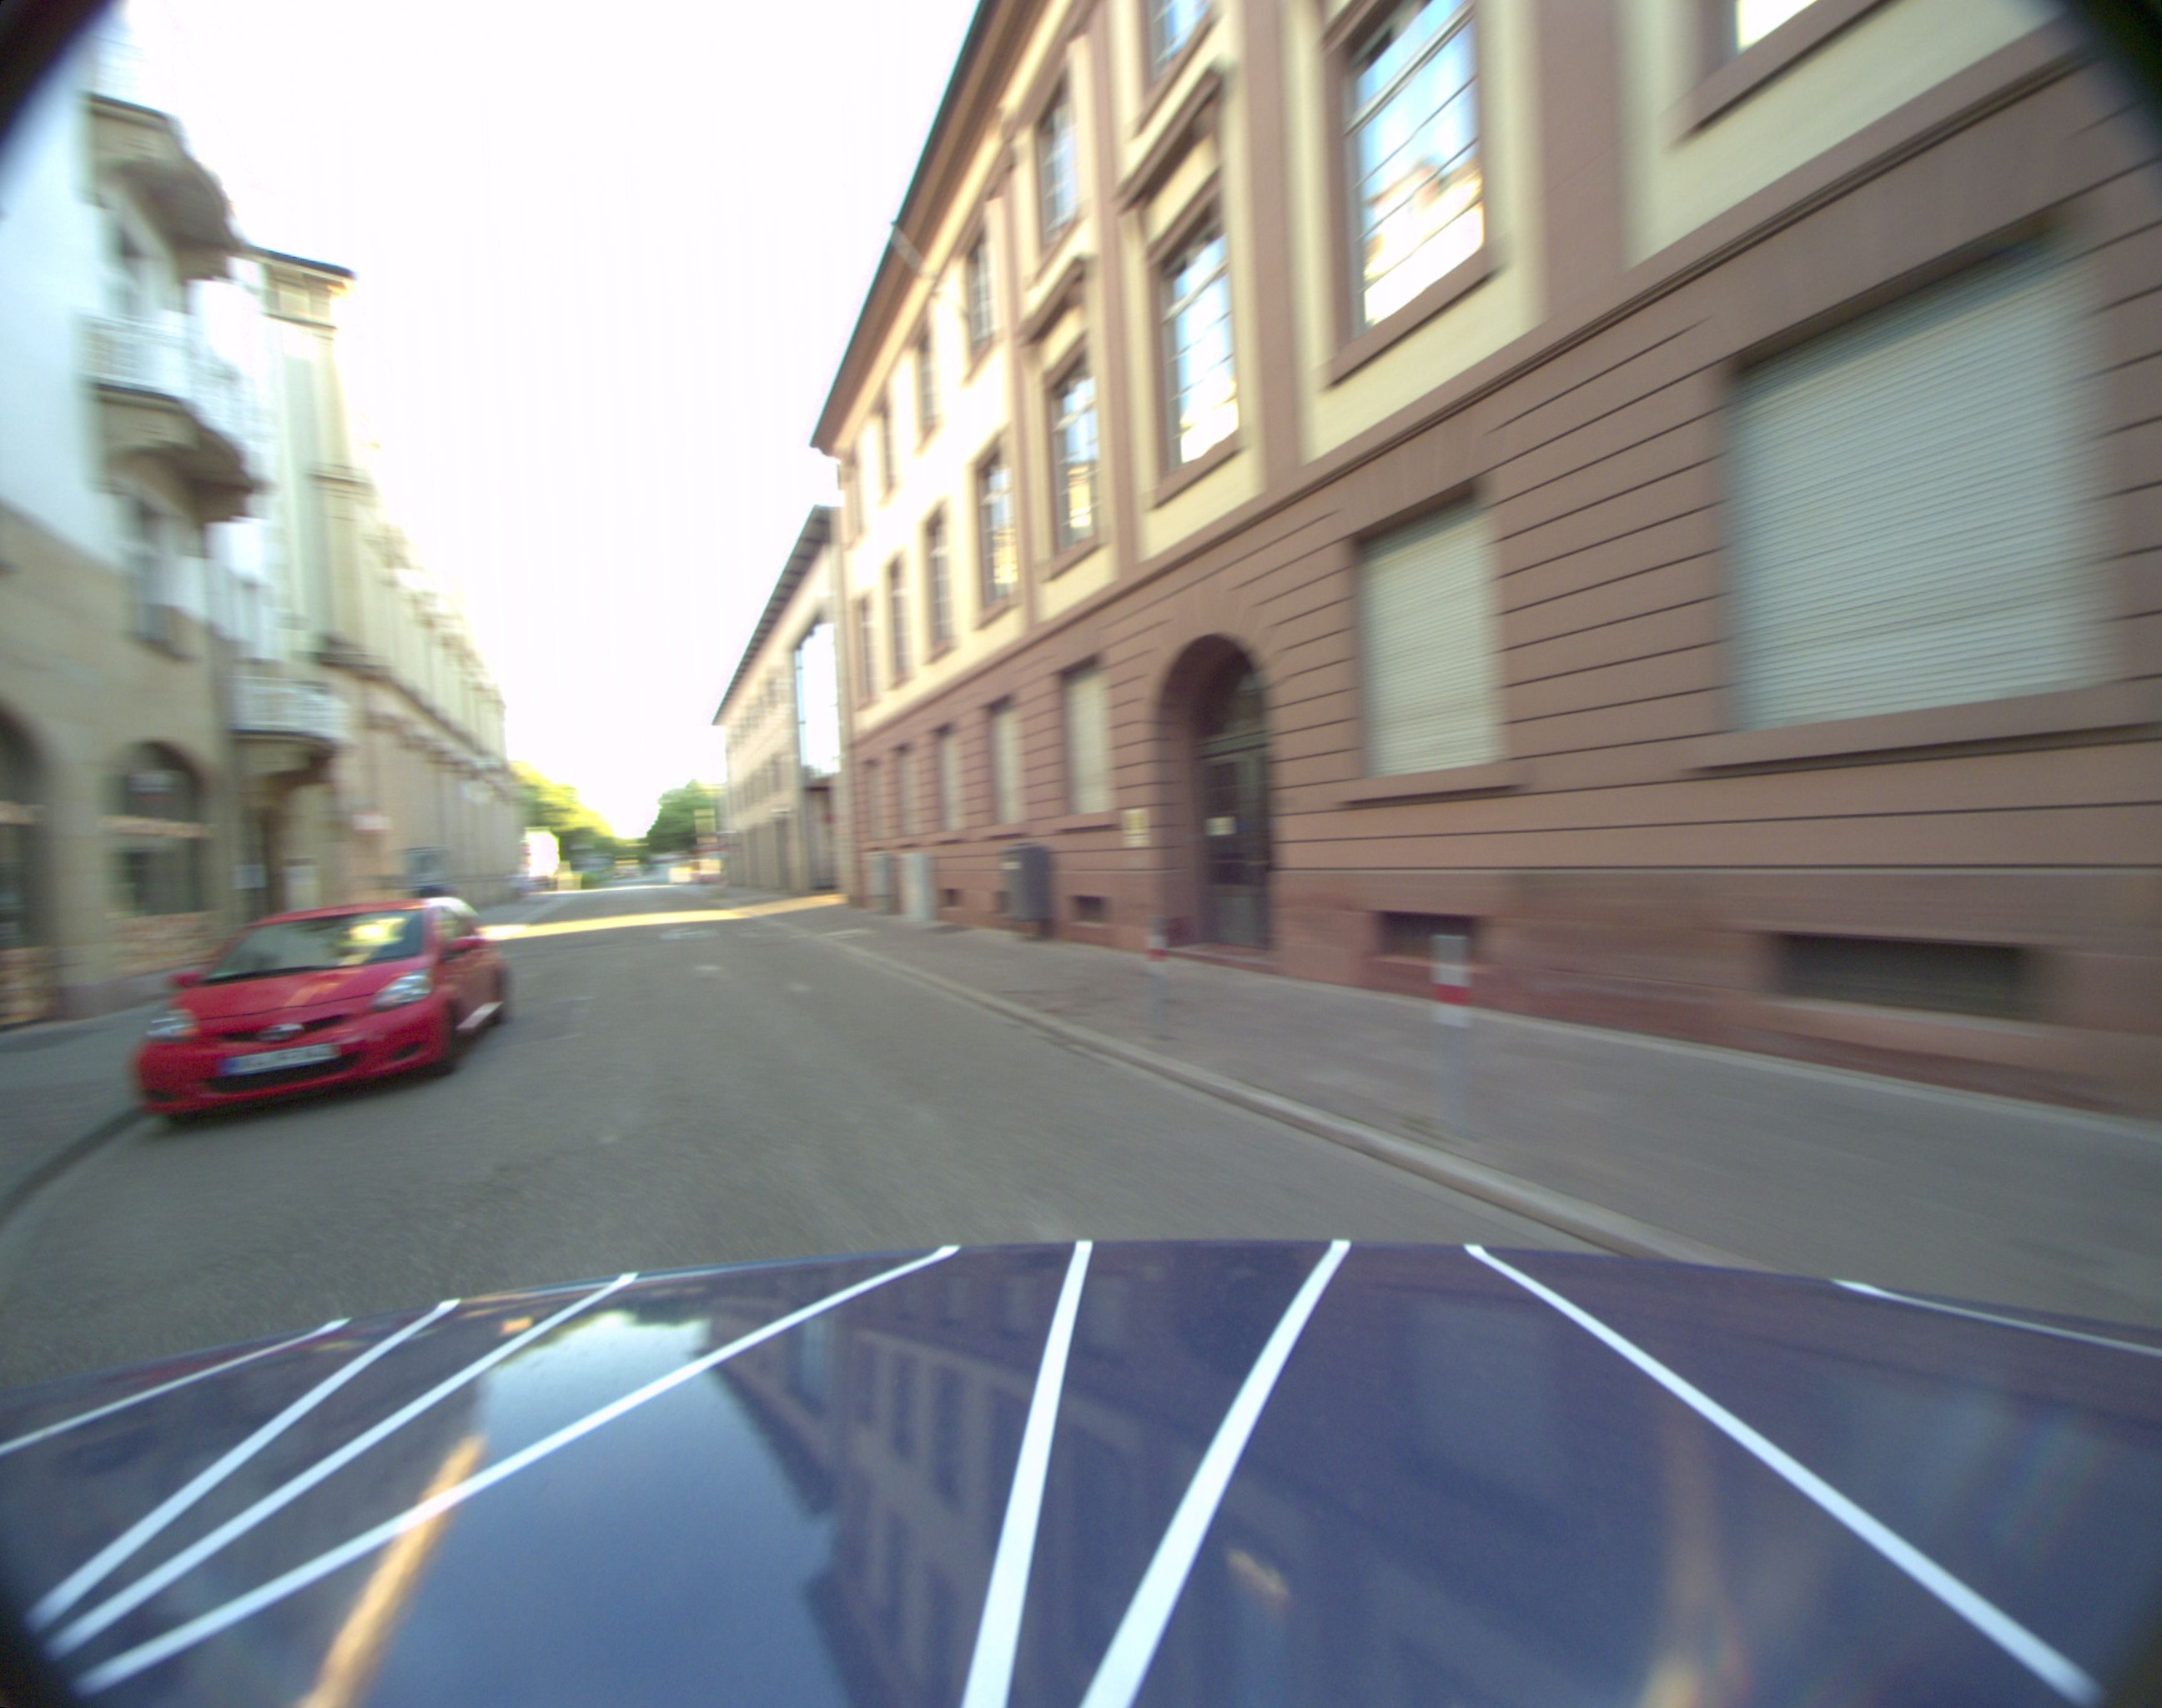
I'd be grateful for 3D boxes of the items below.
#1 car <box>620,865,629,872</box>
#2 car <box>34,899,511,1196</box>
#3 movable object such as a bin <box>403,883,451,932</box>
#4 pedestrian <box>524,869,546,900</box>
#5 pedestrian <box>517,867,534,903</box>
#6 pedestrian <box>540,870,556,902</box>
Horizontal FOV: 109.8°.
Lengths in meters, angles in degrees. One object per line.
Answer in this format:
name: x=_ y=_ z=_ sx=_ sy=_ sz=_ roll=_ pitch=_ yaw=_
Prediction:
car: x=-114.210 y=3.640 z=190.144 sx=1.862 sy=1.519 sz=3.991 roll=-3 pitch=1 yaw=-30
car: x=-6.208 y=1.258 z=6.426 sx=1.621 sy=1.417 sz=3.589 roll=-6 pitch=3 yaw=-29
movable object such as a bin: x=-19.608 y=1.583 z=22.804 sx=0.901 sy=1.367 sz=1.135 roll=0 pitch=0 yaw=-32
pedestrian: x=-28.508 y=1.560 z=39.678 sx=0.858 sy=1.589 sz=0.922 roll=0 pitch=-1 yaw=-32
pedestrian: x=-27.895 y=1.547 z=38.168 sx=0.650 sy=1.768 sz=0.756 roll=0 pitch=-1 yaw=-32
pedestrian: x=-27.177 y=1.625 z=38.737 sx=0.650 sy=1.643 sz=0.756 roll=0 pitch=-1 yaw=-32
